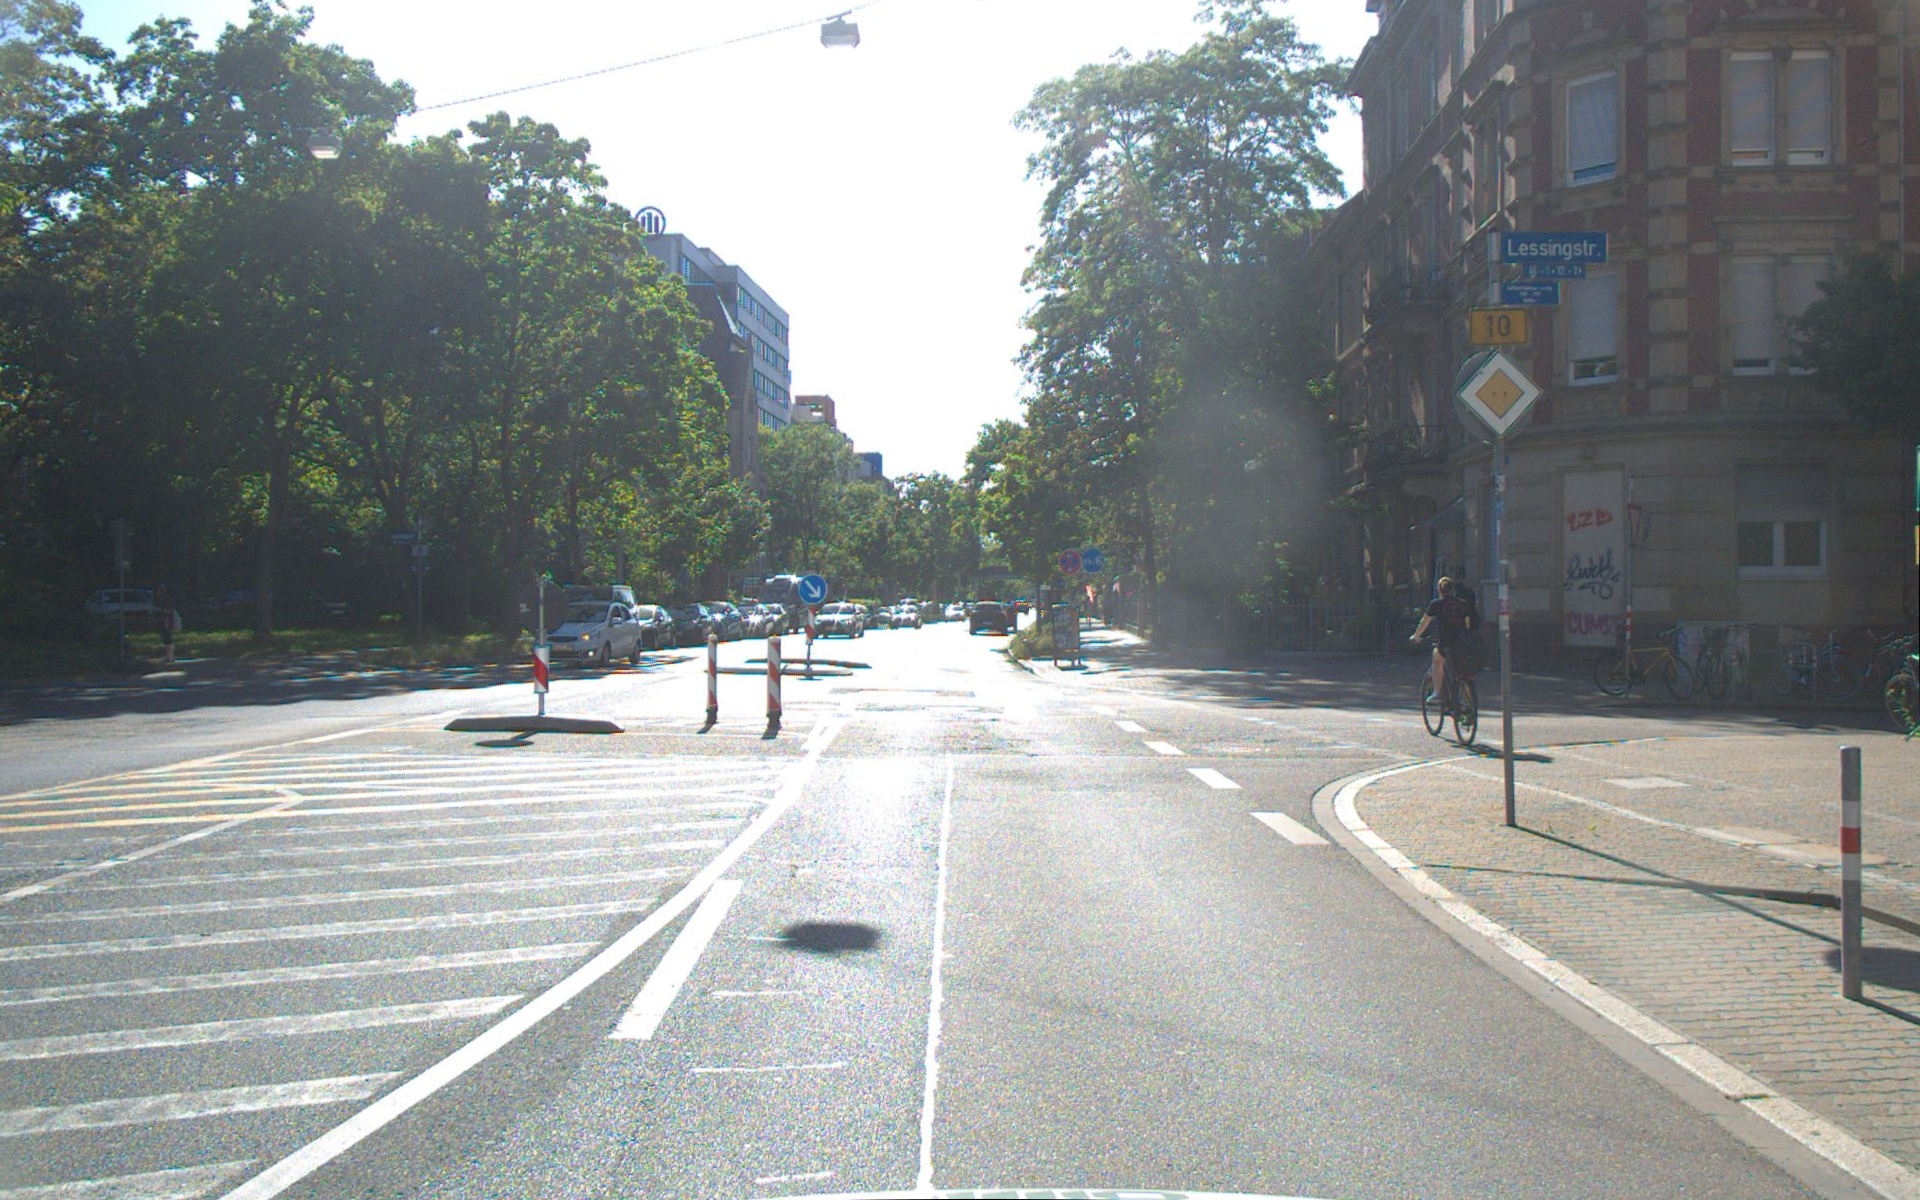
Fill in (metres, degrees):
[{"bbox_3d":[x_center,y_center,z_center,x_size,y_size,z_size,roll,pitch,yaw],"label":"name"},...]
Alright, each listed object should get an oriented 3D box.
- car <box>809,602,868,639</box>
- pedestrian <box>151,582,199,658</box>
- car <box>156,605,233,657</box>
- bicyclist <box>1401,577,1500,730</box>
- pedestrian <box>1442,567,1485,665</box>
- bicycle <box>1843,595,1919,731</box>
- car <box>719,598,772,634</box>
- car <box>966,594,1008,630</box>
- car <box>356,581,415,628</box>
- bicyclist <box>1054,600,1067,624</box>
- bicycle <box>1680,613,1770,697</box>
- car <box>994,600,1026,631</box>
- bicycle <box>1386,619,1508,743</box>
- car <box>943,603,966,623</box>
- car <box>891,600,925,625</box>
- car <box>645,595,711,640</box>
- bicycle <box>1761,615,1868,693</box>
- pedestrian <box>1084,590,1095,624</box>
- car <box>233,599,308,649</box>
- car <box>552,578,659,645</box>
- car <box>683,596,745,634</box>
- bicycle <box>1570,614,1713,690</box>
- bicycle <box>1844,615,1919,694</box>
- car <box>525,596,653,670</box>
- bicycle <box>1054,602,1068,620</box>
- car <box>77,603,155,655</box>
[{"bbox_3d":[-5.111,0.887,70.321,1.746,1.486,4.418,1,-1,6],"label":"car"},{"bbox_3d":[-17.220,0.429,36.287,0.656,1.655,0.713,0,0,32],"label":"pedestrian"},{"bbox_3d":[-26.690,1.033,57.585,1.956,1.691,3.955,0,0,-32],"label":"car"},{"bbox_3d":[5.368,0.561,18.152,0.726,1.607,1.100,1,1,0],"label":"bicyclist"},{"bbox_3d":[9.738,0.318,31.997,0.642,1.848,0.751,1,-3,3],"label":"pedestrian"},{"bbox_3d":[10.298,0.658,17.714,0.566,1.422,2.068,0,0,0],"label":"bicycle"},{"bbox_3d":[-8.984,0.671,69.371,1.491,1.457,3.339,0,0,6],"label":"car"},{"bbox_3d":[1.274,0.566,79.608,1.856,1.545,4.000,2,1,-1],"label":"car"},{"bbox_3d":[-21.547,0.165,61.963,1.947,1.691,3.974,0,0,-21],"label":"car"},{"bbox_3d":[5.843,0.674,95.941,0.666,1.351,0.636,1,-3,-1],"label":"bicyclist"},{"bbox_3d":[11.799,0.824,25.567,0.566,1.113,1.973,1,3,5],"label":"bicycle"},{"bbox_3d":[2.981,0.890,97.720,1.781,1.771,4.001,0,0,3],"label":"car"},{"bbox_3d":[5.319,0.857,18.178,0.726,1.240,1.960,-2,0,0],"label":"bicycle"},{"bbox_3d":[-0.466,1.113,141.975,1.895,1.546,4.029,1,-3,0],"label":"car"},{"bbox_3d":[-3.264,0.783,104.179,1.604,1.545,4.033,0,0,6],"label":"car"},{"bbox_3d":[-10.148,0.657,59.746,1.491,1.458,3.338,1,-3,6],"label":"car"},{"bbox_3d":[13.277,0.812,25.760,0.711,1.151,2.033,0,0,3],"label":"bicycle"},{"bbox_3d":[7.690,0.412,98.352,0.602,2.049,0.681,0,0,-1],"label":"pedestrian"},{"bbox_3d":[-24.599,0.826,58.933,1.955,1.691,3.958,0,0,-31],"label":"car"},{"bbox_3d":[-10.766,0.335,50.618,2.153,1.963,4.862,0,0,1],"label":"car"},{"bbox_3d":[-9.677,0.559,65.277,1.491,1.457,3.556,0,0,7],"label":"car"},{"bbox_3d":[10.469,0.783,25.450,0.690,1.114,1.939,0,0,-45],"label":"bicycle"},{"bbox_3d":[14.497,0.825,25.677,0.548,1.151,2.033,0,0,3],"label":"bicycle"},{"bbox_3d":[-8.537,0.719,38.372,1.721,1.545,3.862,-1,1,6],"label":"car"},{"bbox_3d":[5.850,0.636,95.852,0.661,0.954,2.281,0,-2,-1],"label":"bicycle"},{"bbox_3d":[-28.912,0.955,56.608,1.958,1.691,3.953,0,0,-34],"label":"car"}]
